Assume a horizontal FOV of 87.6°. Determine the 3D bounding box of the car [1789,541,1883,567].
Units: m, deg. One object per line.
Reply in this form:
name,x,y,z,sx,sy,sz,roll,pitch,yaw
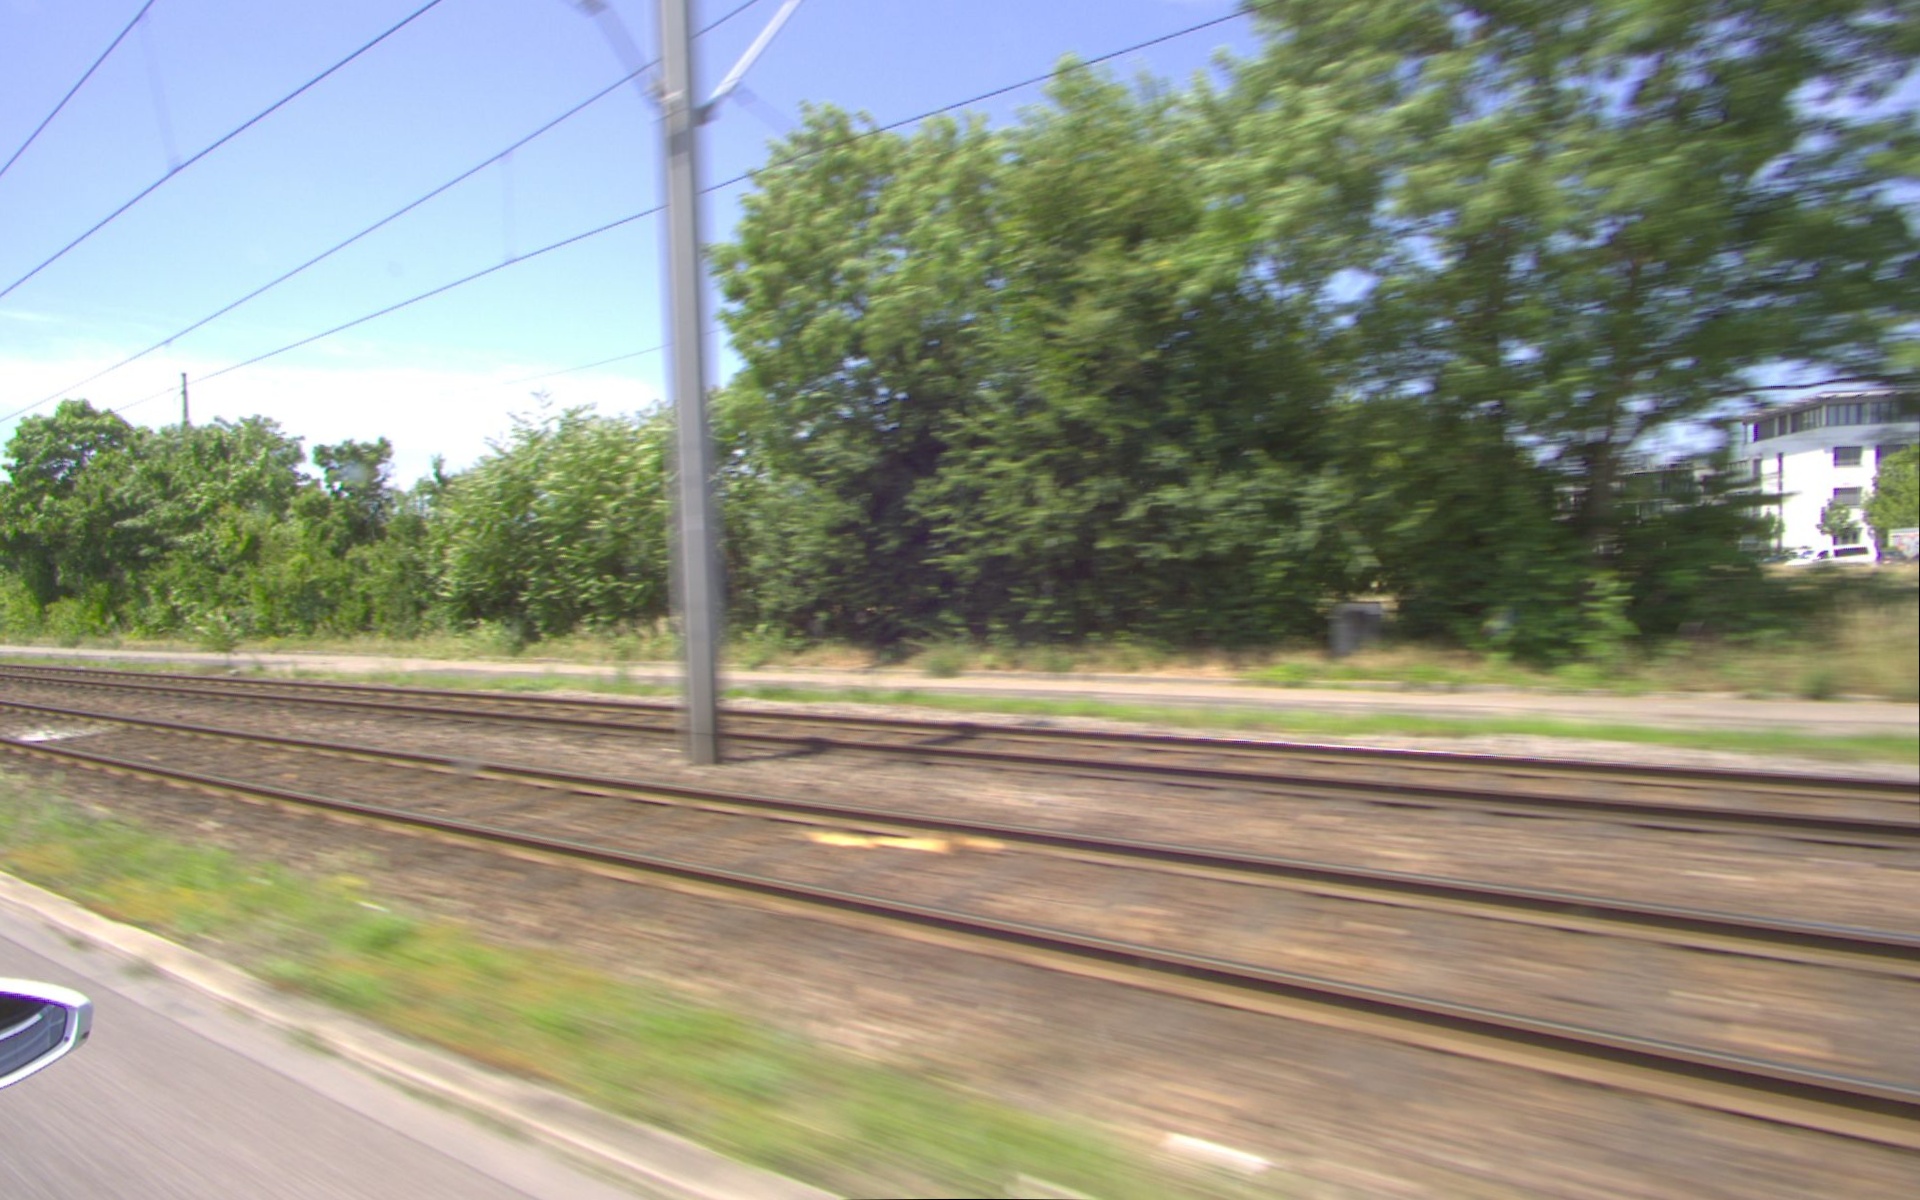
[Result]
car,57.552,-2.992,65.863,4.286,1.472,1.832,-1,0,17
